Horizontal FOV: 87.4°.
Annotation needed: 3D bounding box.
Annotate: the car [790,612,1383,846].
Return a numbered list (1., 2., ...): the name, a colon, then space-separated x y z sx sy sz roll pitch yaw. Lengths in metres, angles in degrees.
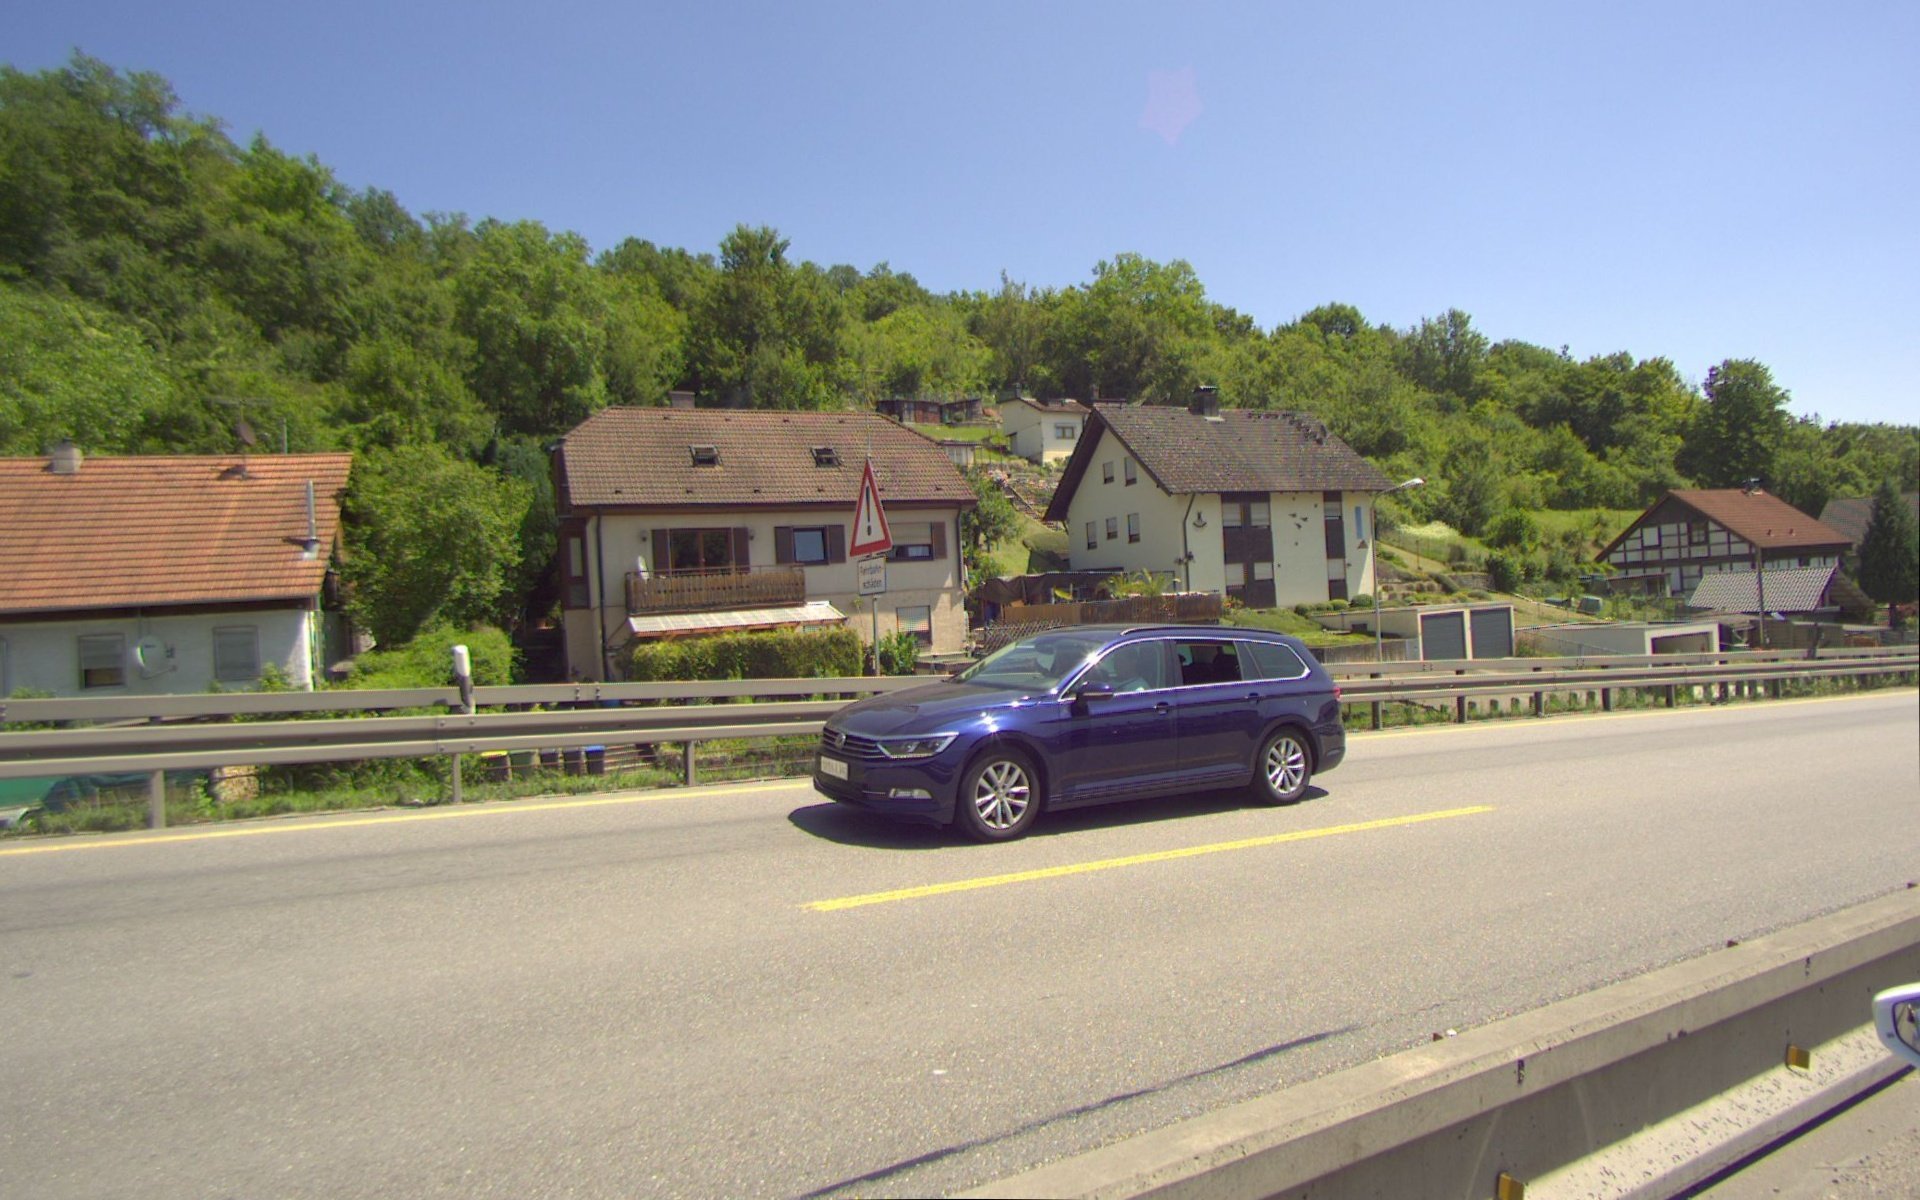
1. car: 1.137 0.875 8.144 4.631 1.436 1.833 2 -2 -30
